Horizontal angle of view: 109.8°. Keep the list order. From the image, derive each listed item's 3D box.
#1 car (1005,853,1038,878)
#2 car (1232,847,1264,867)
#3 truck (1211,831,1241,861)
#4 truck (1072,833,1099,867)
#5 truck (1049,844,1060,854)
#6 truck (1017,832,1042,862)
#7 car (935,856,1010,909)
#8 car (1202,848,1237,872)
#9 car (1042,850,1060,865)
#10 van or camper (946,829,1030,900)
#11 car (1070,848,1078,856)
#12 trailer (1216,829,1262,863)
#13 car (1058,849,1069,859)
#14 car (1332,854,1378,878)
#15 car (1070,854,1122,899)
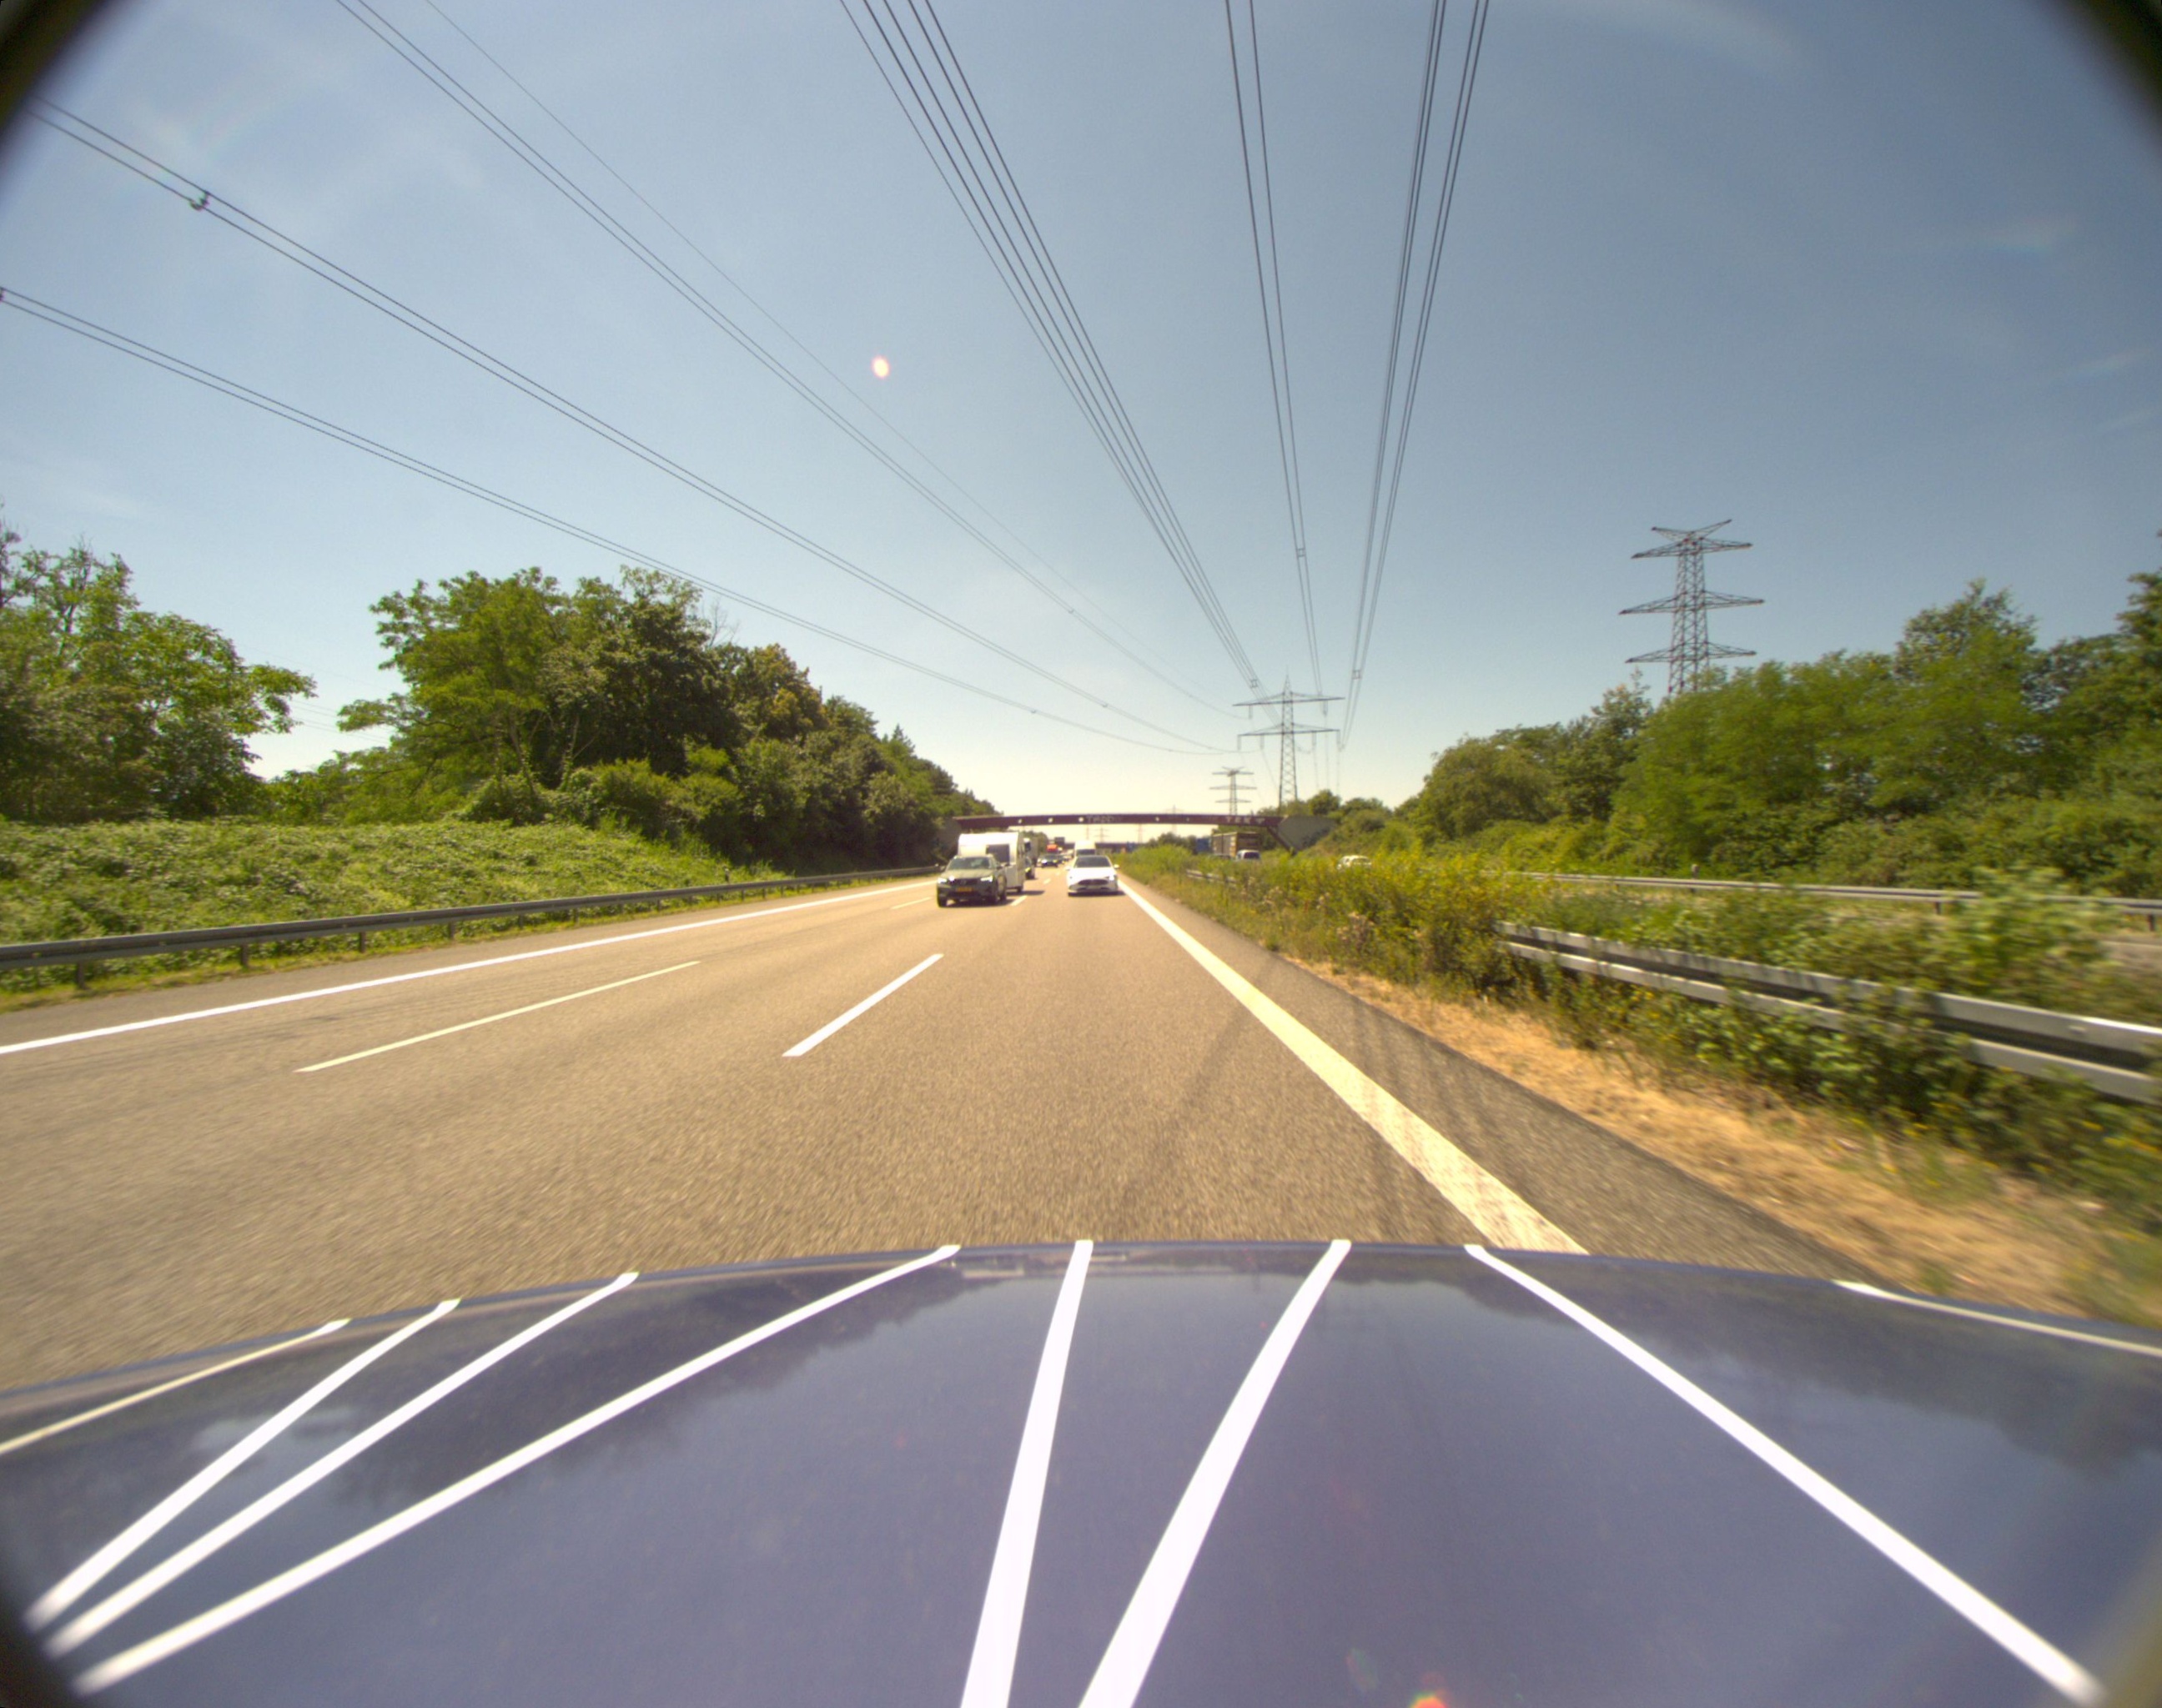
[{"bbox_3d":[-3.825,0.716,49.486,1.803,1.533,3.806,0,0,1],"label":"car"},{"bbox_3d":[13.616,0.230,62.050,1.769,1.586,3.737,1,0,1],"label":"car"},{"bbox_3d":[18.454,-1.056,96.956,2.889,3.664,5.411,1,1,1],"label":"truck"},{"bbox_3d":[0.449,-0.383,68.905,2.192,2.841,5.503,-3,0,1],"label":"truck"},{"bbox_3d":[-7.006,-1.339,202.676,2.619,2.801,6.593,-1,0,1],"label":"truck"},{"bbox_3d":[-6.775,-0.971,100.620,2.584,3.704,8.279,-2,1,1],"label":"truck"},{"bbox_3d":[-3.494,0.870,25.122,1.788,1.520,4.104,-1,0,1],"label":"car"},{"bbox_3d":[9.583,0.398,52.774,1.769,1.586,3.737,1,0,1],"label":"car"},{"bbox_3d":[-3.470,0.360,89.318,1.904,1.662,4.000,-2,0,1],"label":"car"},{"bbox_3d":[-3.541,0.350,30.406,2.411,2.483,6.432,-1,0,1],"label":"van or camper"},{"bbox_3d":[-1.732,-0.407,195.248,1.998,2.002,4.000,-1,0,1],"label":"car"},{"bbox_3d":[18.343,-0.966,89.322,2.881,3.667,12.716,1,1,1],"label":"trailer"},{"bbox_3d":[-3.549,-0.013,154.742,1.998,2.002,4.000,0,0,1],"label":"car"},{"bbox_3d":[18.010,0.751,50.103,1.717,1.493,3.737,1,0,1],"label":"car"},{"bbox_3d":[0.545,0.800,28.693,1.788,1.462,3.999,-2,1,1],"label":"car"}]
